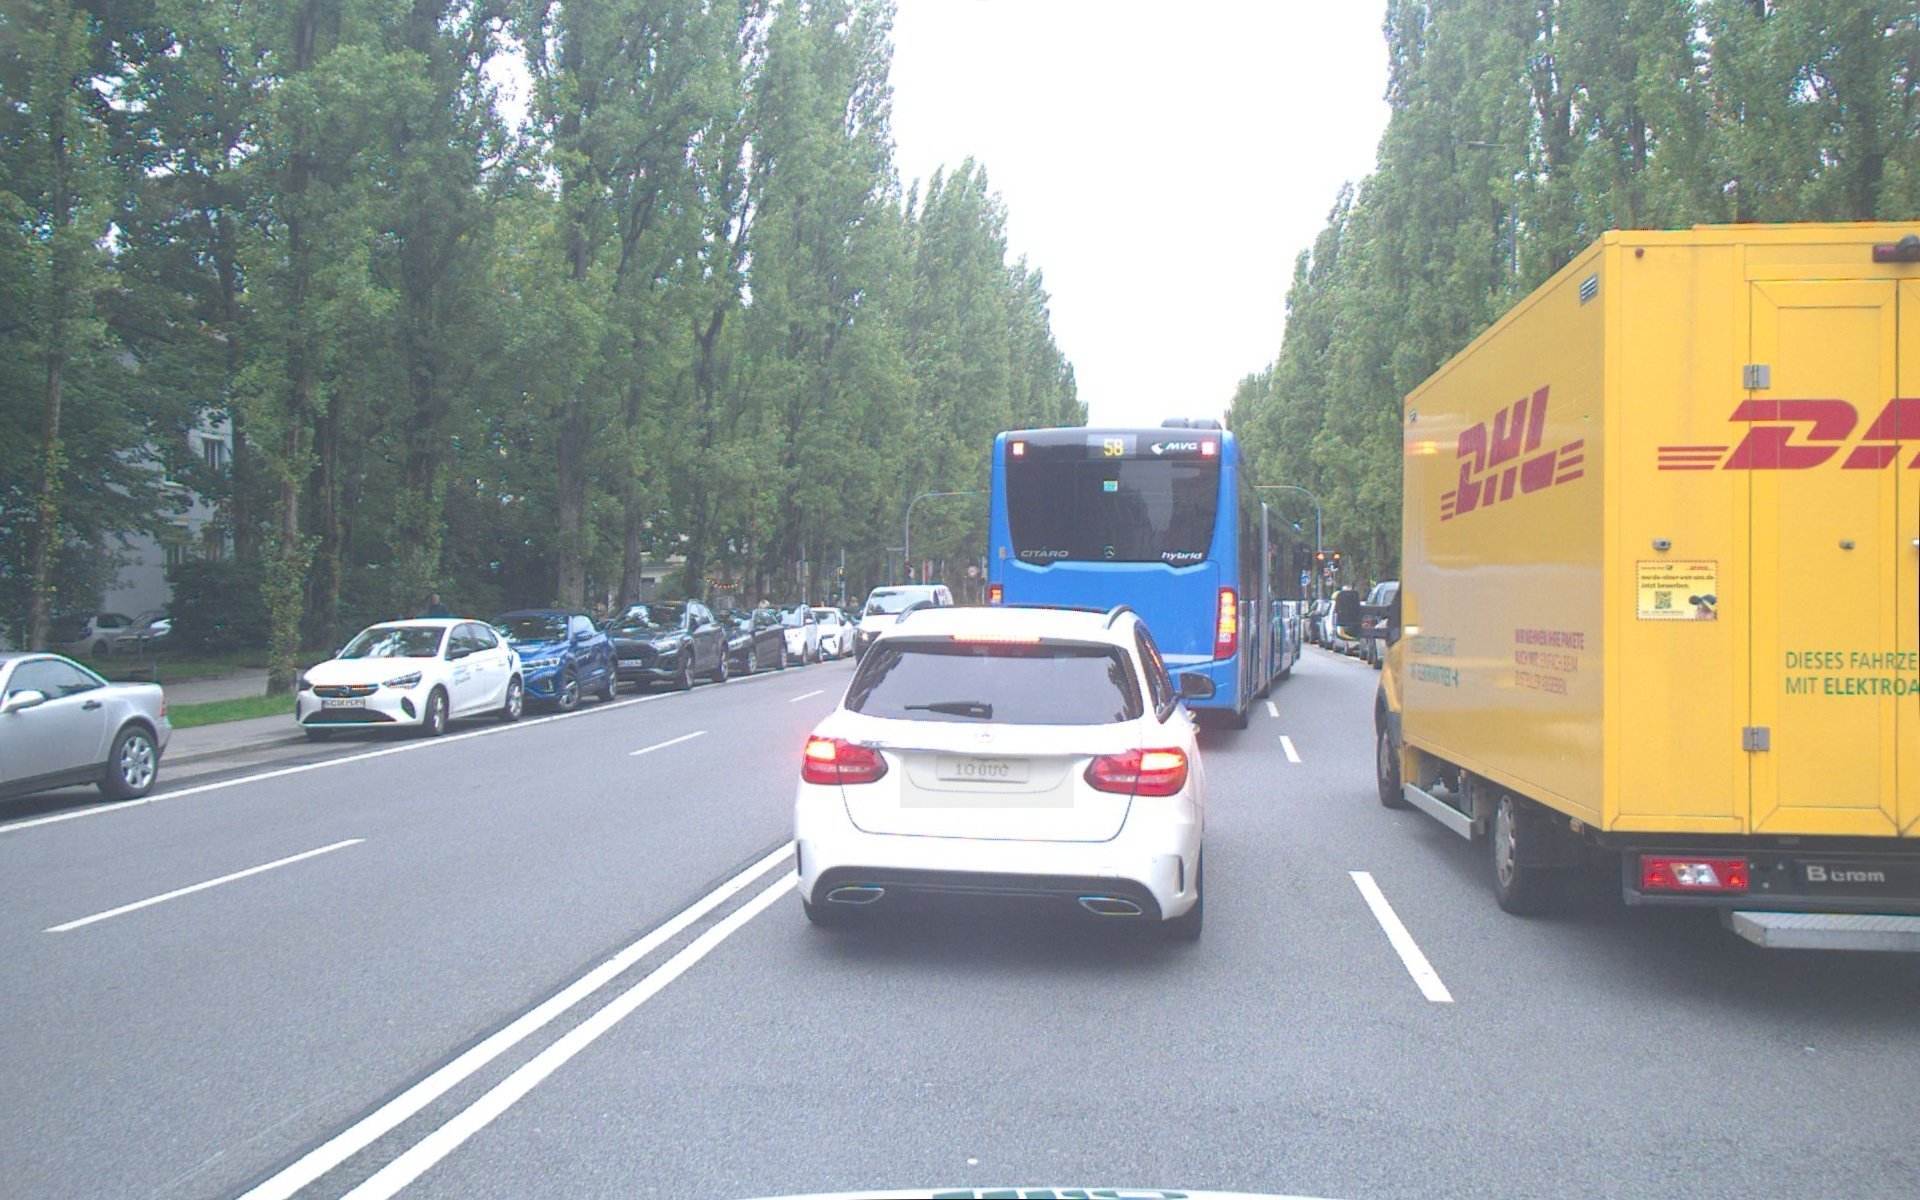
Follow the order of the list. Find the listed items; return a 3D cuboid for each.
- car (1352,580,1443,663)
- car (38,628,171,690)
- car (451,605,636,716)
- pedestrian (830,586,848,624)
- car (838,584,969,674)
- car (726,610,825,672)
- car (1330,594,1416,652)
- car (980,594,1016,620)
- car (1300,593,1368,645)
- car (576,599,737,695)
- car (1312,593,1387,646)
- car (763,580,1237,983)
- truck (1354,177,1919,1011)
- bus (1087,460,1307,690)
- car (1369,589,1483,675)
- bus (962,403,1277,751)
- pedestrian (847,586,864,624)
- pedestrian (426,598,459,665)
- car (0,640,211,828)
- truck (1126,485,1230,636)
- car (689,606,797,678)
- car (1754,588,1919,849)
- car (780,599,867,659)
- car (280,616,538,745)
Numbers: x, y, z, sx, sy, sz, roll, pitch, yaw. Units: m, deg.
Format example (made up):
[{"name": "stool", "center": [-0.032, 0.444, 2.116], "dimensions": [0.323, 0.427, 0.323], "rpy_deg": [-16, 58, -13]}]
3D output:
[{"name": "car", "center": [10.354, 0.469, 39.340], "dimensions": [1.667, 1.868, 4.003], "rpy_deg": [1, 0, 9]}, {"name": "car", "center": [-26.819, 1.817, 52.037], "dimensions": [1.953, 1.713, 4.266], "rpy_deg": [-1, 0, 0]}, {"name": "car", "center": [-6.502, 0.894, 26.255], "dimensions": [1.707, 1.545, 4.119], "rpy_deg": [-2, 0, 2]}, {"name": "pedestrian", "center": [-6.588, 0.271, 90.048], "dimensions": [0.812, 2.049, 0.778], "rpy_deg": [-1, 0, 5]}, {"name": "car", "center": [-1.255, 0.640, 39.741], "dimensions": [2.136, 1.924, 5.700], "rpy_deg": [-2, 0, 8]}, {"name": "car", "center": [-4.643, 1.019, 42.131], "dimensions": [1.639, 1.438, 4.003], "rpy_deg": [-1, 0, 6]}, {"name": "car", "center": [11.327, 0.600, 45.545], "dimensions": [1.760, 1.501, 4.003], "rpy_deg": [-1, 0, 6]}, {"name": "car", "center": [2.286, 0.386, 98.850], "dimensions": [1.783, 1.512, 4.003], "rpy_deg": [-1, 0, 7]}, {"name": "car", "center": [12.570, 0.614, 55.784], "dimensions": [1.770, 1.646, 4.003], "rpy_deg": [-1, 0, 6]}, {"name": "car", "center": [-5.661, 0.835, 31.415], "dimensions": [1.753, 1.575, 4.341], "rpy_deg": [-4, 0, 6]}, {"name": "car", "center": [11.880, 0.570, 50.663], "dimensions": [1.748, 1.518, 4.003], "rpy_deg": [-1, 0, 6]}, {"name": "car", "center": [0.434, 0.667, 8.505], "dimensions": [1.787, 1.480, 4.586], "rpy_deg": [0, 0, 7]}, {"name": "truck", "center": [3.871, -0.035, 9.490], "dimensions": [2.278, 2.949, 7.338], "rpy_deg": [0, 0, 7]}, {"name": "bus", "center": [4.494, -0.384, 29.316], "dimensions": [2.811, 3.362, 9.797], "rpy_deg": [0, 0, 14]}, {"name": "car", "center": [9.499, 0.607, 33.982], "dimensions": [1.642, 1.624, 4.090], "rpy_deg": [1, 0, 7]}, {"name": "bus", "center": [2.352, -0.248, 20.273], "dimensions": [2.795, 3.270, 9.067], "rpy_deg": [0, 0, 12]}, {"name": "pedestrian", "center": [-5.689, 0.268, 90.178], "dimensions": [0.812, 2.049, 0.778], "rpy_deg": [-1, 0, 5]}, {"name": "pedestrian", "center": [-13.740, 0.835, 43.898], "dimensions": [0.587, 1.769, 0.641], "rpy_deg": [-1, 0, 7]}, {"name": "car", "center": [-7.901, 1.078, 13.190], "dimensions": [1.547, 1.327, 4.032], "rpy_deg": [-2, 0, 8]}, {"name": "truck", "center": [6.348, -1.093, 49.216], "dimensions": [2.658, 4.034, 9.224], "rpy_deg": [-1, 0, 5]}, {"name": "car", "center": [-4.933, 0.934, 38.024], "dimensions": [1.507, 1.458, 3.872], "rpy_deg": [-4, 0, 6]}, {"name": "car", "center": [6.520, 0.682, 10.190], "dimensions": [1.688, 1.521, 4.327], "rpy_deg": [0, 0, 8]}, {"name": "car", "center": [-3.799, 0.791, 46.578], "dimensions": [1.672, 1.575, 4.003], "rpy_deg": [-1, 0, 6]}, {"name": "car", "center": [-7.104, 0.986, 21.764], "dimensions": [1.649, 1.437, 4.007], "rpy_deg": [-2, 0, 6]}]
